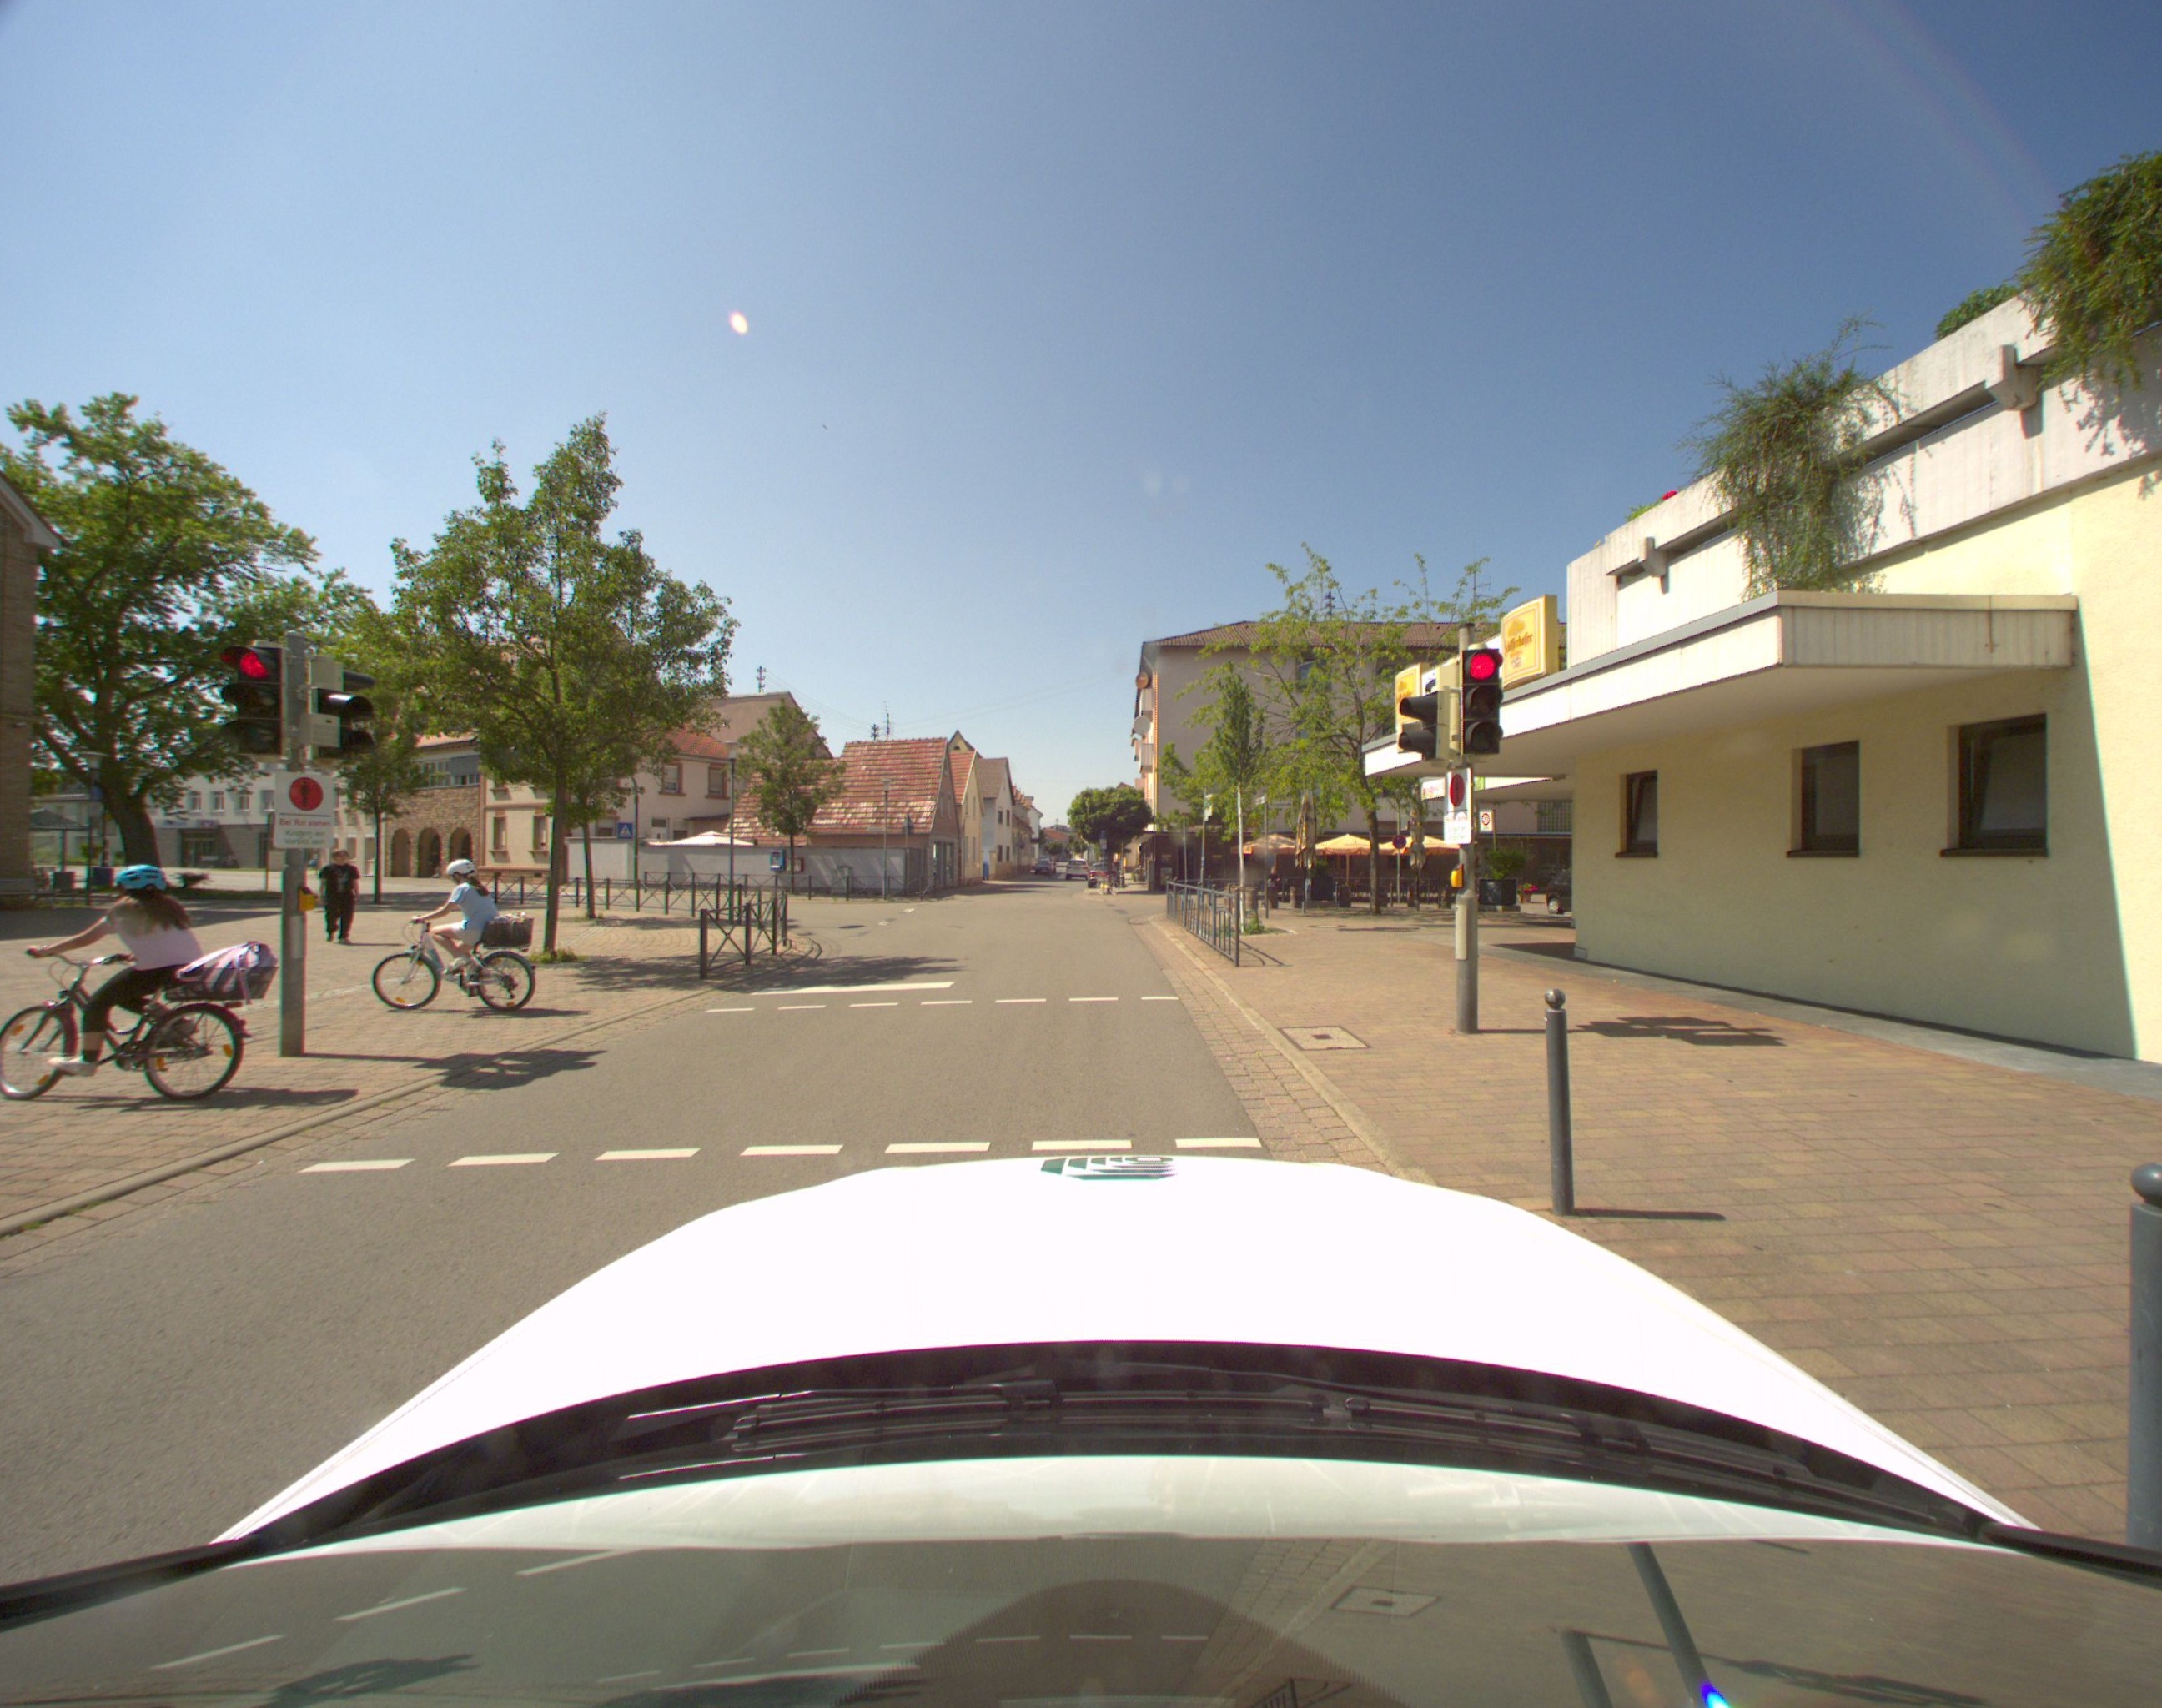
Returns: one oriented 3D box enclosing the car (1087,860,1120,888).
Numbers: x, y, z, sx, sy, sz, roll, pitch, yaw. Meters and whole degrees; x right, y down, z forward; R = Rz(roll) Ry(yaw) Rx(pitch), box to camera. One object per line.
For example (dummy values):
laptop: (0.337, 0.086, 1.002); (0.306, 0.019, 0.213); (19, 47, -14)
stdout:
car: (1.355, 1.141, 47.518); (1.797, 1.501, 4.003); (0, 0, 3)

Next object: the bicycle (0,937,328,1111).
bicycle: (-6.102, 1.054, 5.206); (1.884, 0.958, 0.675); (1, 0, -2)

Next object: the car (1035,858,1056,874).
car: (-3.380, 1.157, 78.295); (1.707, 1.517, 3.789); (0, -1, 3)

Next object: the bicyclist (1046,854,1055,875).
bicyclist: (-2.521, 0.876, 67.856); (0.666, 1.691, 0.762); (-1, -1, 1)

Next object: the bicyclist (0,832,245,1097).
bicyclist: (-6.068, 0.656, 5.197); (0.757, 1.581, 0.670); (0, 0, -1)

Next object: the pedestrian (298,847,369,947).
pedestrian: (-13.016, 0.729, 14.201); (0.818, 1.654, 0.841); (2, -2, -40)

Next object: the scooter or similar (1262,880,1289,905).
scooter or similar: (6.880, 1.354, 28.810); (0.382, 0.873, 0.880); (1, -1, -39)

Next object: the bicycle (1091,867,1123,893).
bicycle: (1.242, 1.243, 38.740); (0.530, 1.193, 1.655); (1, -1, -42)

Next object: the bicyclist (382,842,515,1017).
bicyclist: (-6.314, 0.725, 8.163); (0.756, 1.664, 0.671); (-2, 0, 0)

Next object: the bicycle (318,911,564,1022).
bicycle: (-6.356, 1.101, 8.155); (1.884, 0.958, 0.676); (-2, 0, 0)

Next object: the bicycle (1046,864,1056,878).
bicycle: (-2.521, 1.422, 67.809); (0.671, 1.094, 1.896); (-1, -1, 2)

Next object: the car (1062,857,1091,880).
car: (-0.292, 1.060, 62.622); (1.825, 1.652, 4.006); (2, 0, 5)

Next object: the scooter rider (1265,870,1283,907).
scooter rider: (6.845, 1.205, 28.868); (0.520, 1.286, 0.413); (1, -1, -39)
